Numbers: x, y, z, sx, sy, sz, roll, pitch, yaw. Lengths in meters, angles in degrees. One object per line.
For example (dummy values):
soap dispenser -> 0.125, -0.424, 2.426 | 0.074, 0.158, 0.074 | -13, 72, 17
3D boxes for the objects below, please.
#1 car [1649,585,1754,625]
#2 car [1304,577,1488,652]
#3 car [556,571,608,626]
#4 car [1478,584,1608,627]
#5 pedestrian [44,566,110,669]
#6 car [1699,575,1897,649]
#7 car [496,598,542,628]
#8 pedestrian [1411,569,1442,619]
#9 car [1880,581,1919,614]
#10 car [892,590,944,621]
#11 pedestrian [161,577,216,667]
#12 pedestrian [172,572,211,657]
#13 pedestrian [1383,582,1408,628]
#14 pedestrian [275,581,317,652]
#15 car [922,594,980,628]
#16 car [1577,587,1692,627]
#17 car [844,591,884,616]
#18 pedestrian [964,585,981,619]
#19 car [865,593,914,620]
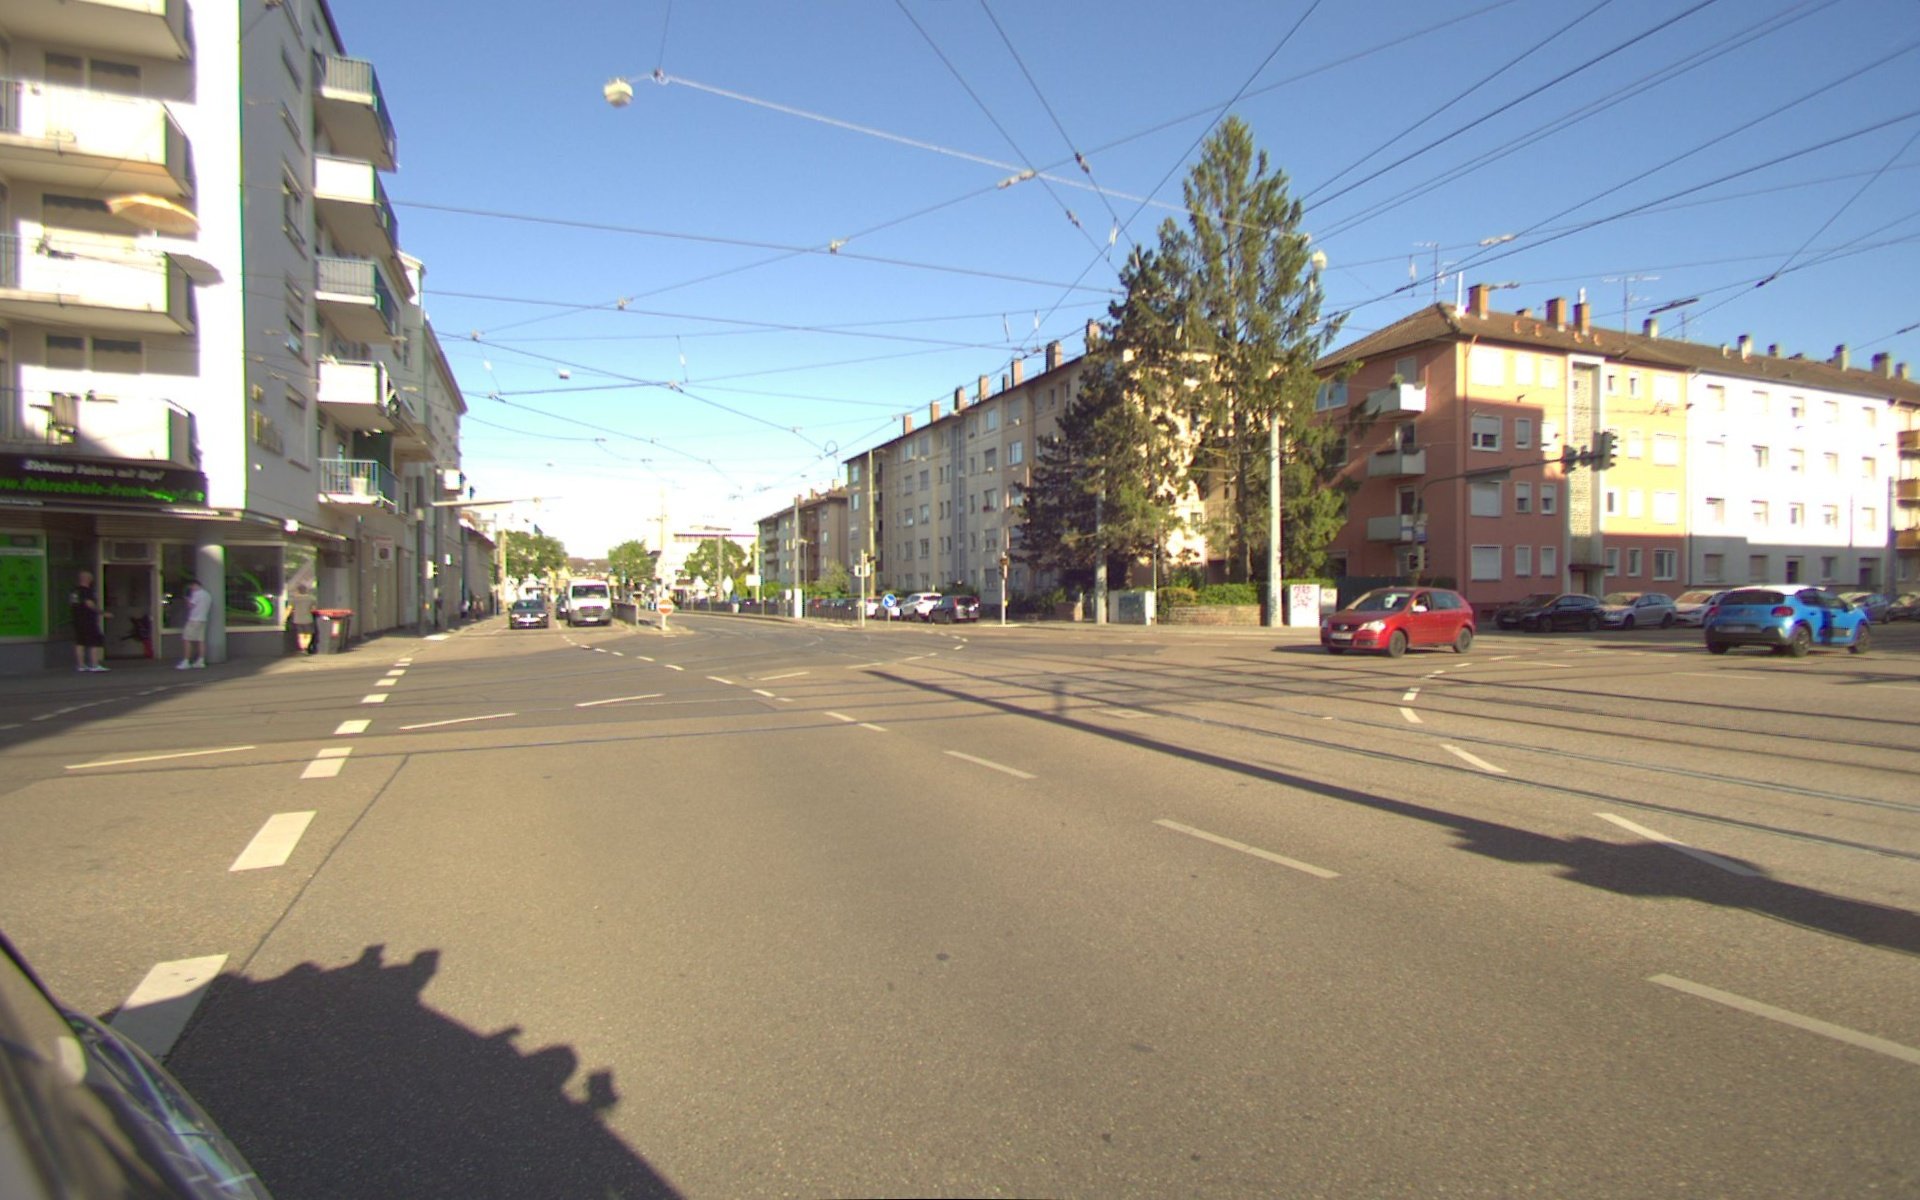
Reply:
car -> 31.301, 0.181, 42.713 | 4.156, 1.537, 1.753 | 0, 2, -25
car -> 9.482, 0.270, 21.956 | 3.763, 1.497, 1.790 | -1, 0, -31
car -> -19.010, -0.125, 50.930 | 2.301, 2.536, 4.871 | 0, 2, -20
car -> 22.293, 0.208, 38.703 | 4.363, 1.442, 2.168 | 1, 2, -26
pedestrian -> -16.907, 0.334, 19.392 | 0.727, 1.914, 0.576 | 2, 0, -7
car -> 17.793, 0.208, 21.500 | 3.599, 1.463, 1.748 | 0, 1, -23
car -> -21.395, 0.616, 49.217 | 1.851, 1.424, 3.942 | 0, 0, -20
pedestrian -> 16.753, -0.223, 36.361 | 0.694, 1.734, 0.785 | -1, 3, -44
car -> 48.207, -0.130, 50.629 | 3.931, 1.588, 1.882 | -1, 3, -27
car -> -2.525, 0.288, 59.909 | 1.742, 1.610, 4.047 | 0, 2, -23
pedestrian -> -15.930, 0.439, 20.914 | 0.650, 1.806, 0.740 | -1, 1, -18
pedestrian -> -17.209, 0.309, 22.670 | 0.588, 1.869, 0.520 | -1, 2, -28
pedestrian -> 15.219, 0.165, 35.358 | 0.563, 1.580, 0.520 | 0, 2, -24
pedestrian -> -15.989, 0.401, 24.371 | 0.688, 1.664, 0.762 | 3, -3, -27
car -> -0.514, 0.560, 54.934 | 1.839, 1.640, 4.087 | 0, 3, -21
car -> 27.048, 0.253, 40.583 | 4.031, 1.447, 1.916 | 0, 2, -23
car -> -6.699, 0.206, 70.061 | 1.633, 1.569, 3.802 | 0, 2, -23
pedestrian -> 0.720, 0.112, 58.502 | 0.688, 1.900, 0.783 | 0, 2, -20
car -> -4.579, 0.388, 65.214 | 1.802, 1.489, 4.047 | 0, 2, -25
